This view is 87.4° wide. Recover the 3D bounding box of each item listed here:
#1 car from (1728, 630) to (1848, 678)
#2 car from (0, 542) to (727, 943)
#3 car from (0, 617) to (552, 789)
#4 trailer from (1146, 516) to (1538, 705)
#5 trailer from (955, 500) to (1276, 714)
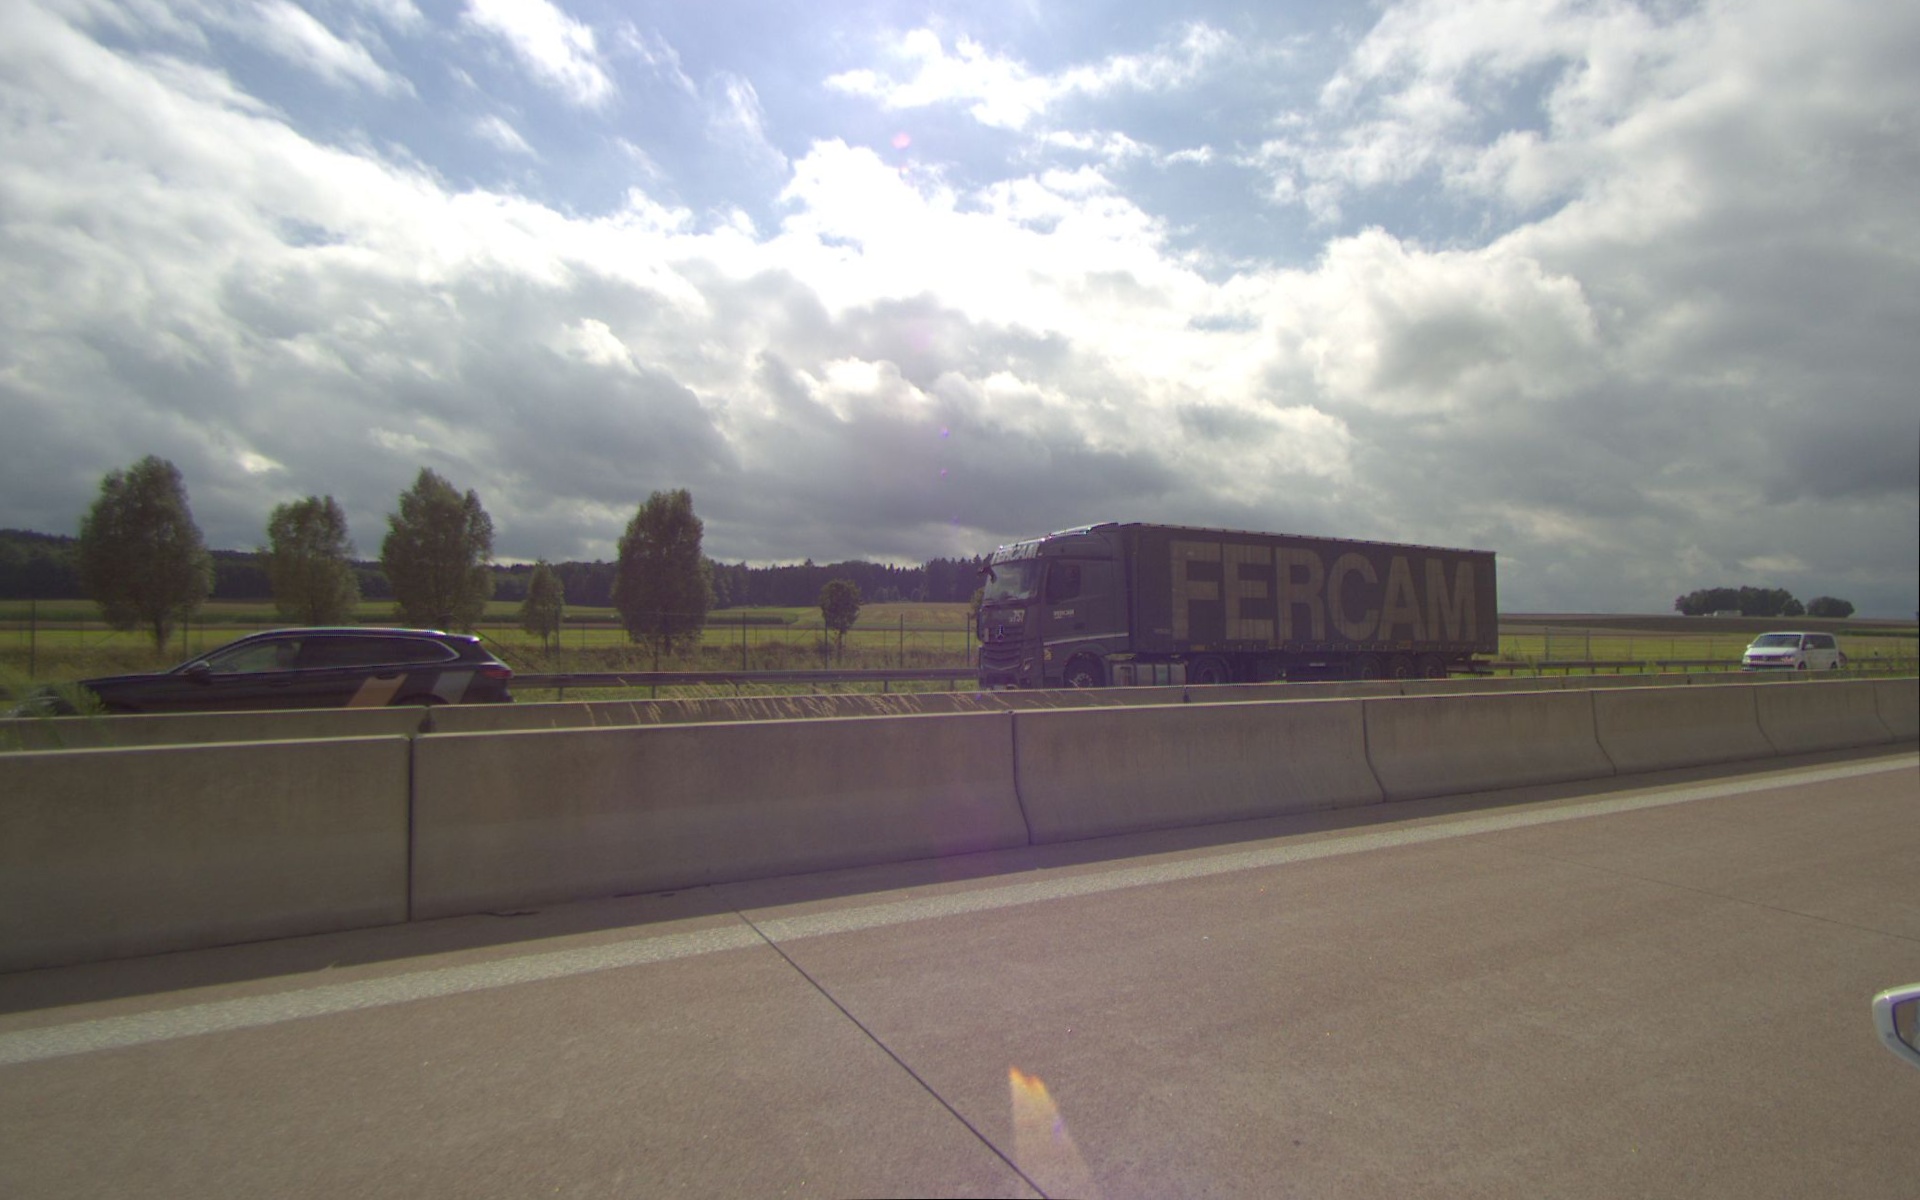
[{"bbox_3d":[34.450,2.221,41.749,5.661,1.870,2.049,1,-2,-30],"label":"car"},{"bbox_3d":[-3.579,0.604,5.622,4.034,1.684,1.963,1,0,-30],"label":"car"},{"bbox_3d":[-7.694,1.057,11.806,5.157,1.596,1.984,1,1,-30],"label":"car"},{"bbox_3d":[10.680,0.320,27.264,11.950,4.321,3.007,1,1,-30],"label":"trailer"},{"bbox_3d":[3.649,0.178,23.205,6.925,4.305,2.993,1,1,-30],"label":"trailer"}]
